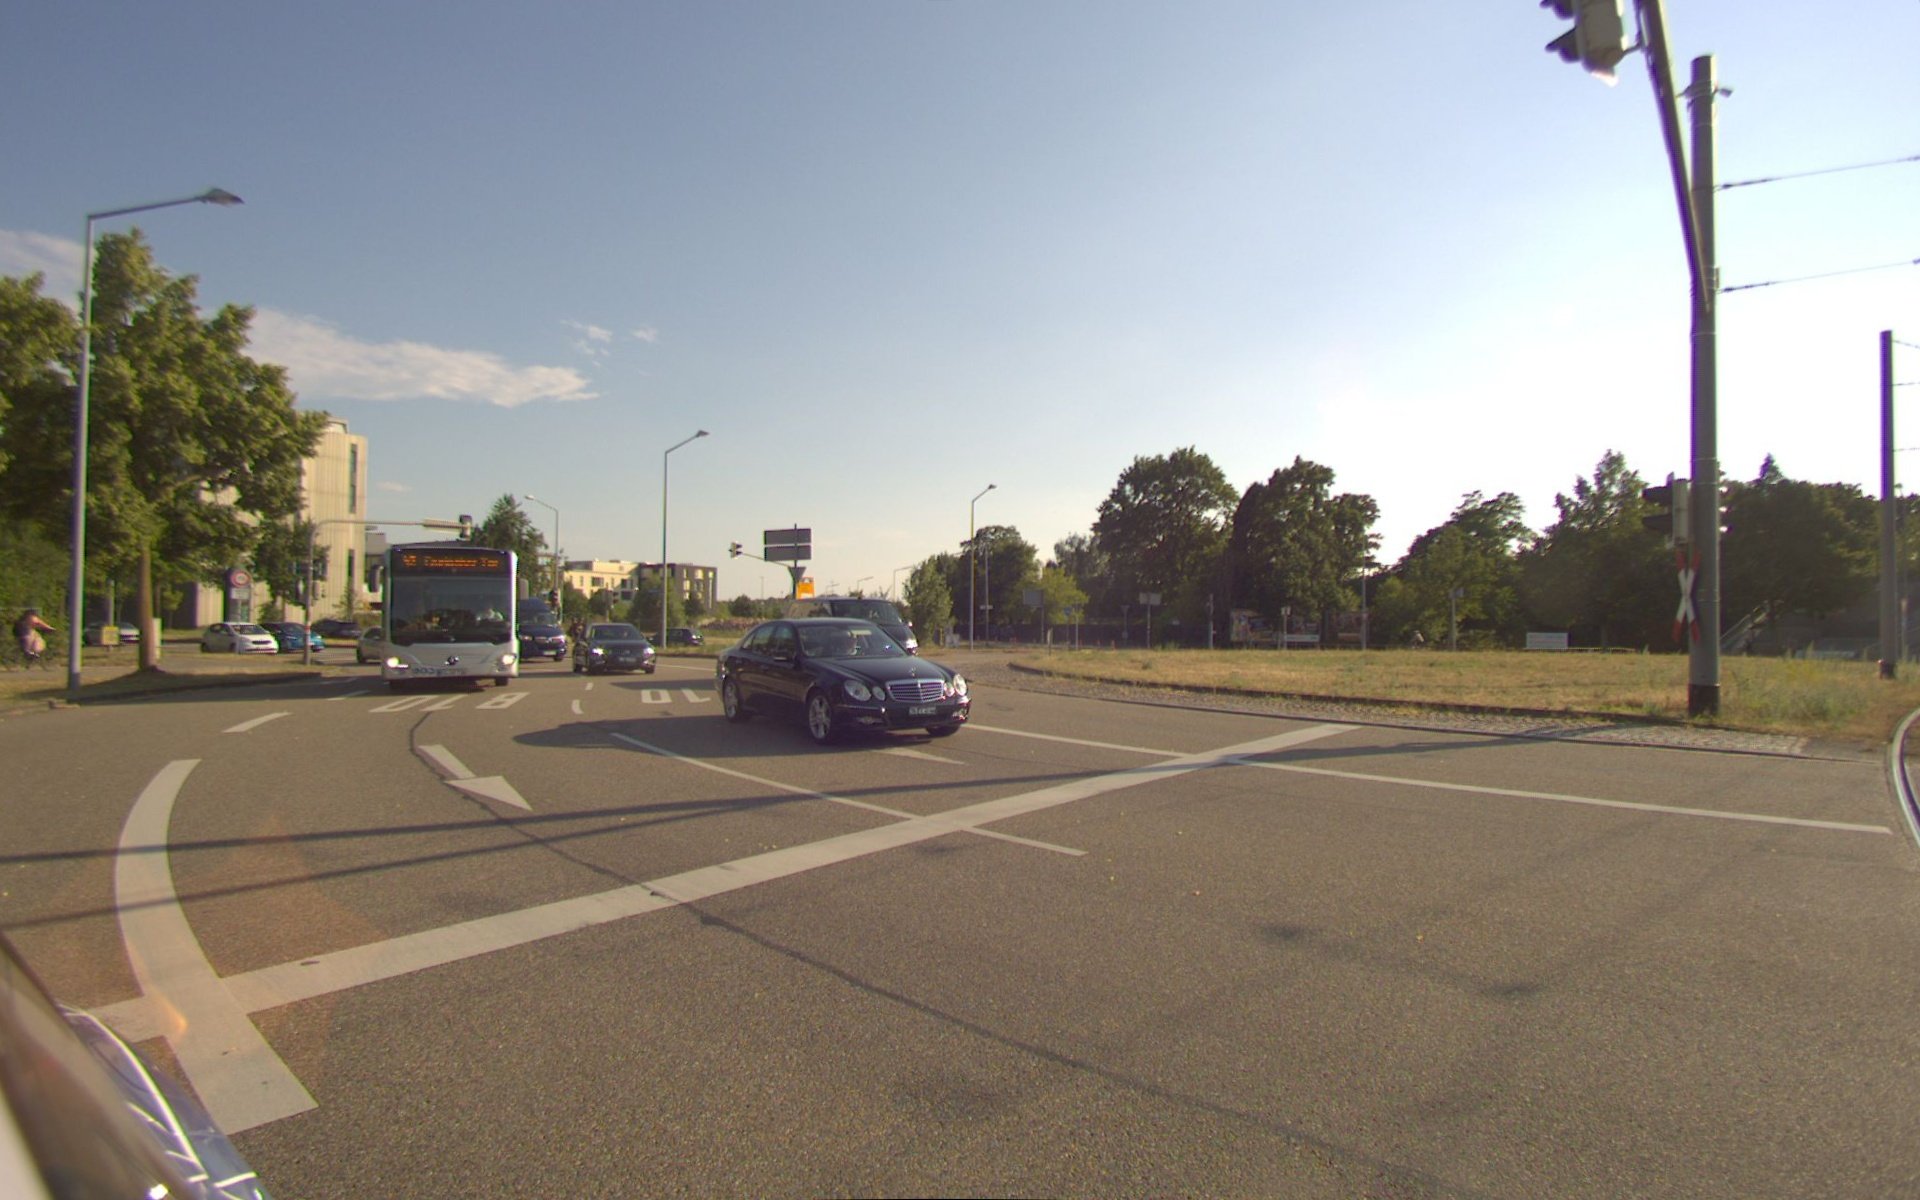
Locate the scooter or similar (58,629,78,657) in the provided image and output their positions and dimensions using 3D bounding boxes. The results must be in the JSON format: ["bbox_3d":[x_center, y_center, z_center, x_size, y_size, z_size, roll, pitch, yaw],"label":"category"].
[{"bbox_3d":[-36.020,1.729,40.864,1.092,1.135,0.246,-1,-5,33],"label":"scooter or similar"}]

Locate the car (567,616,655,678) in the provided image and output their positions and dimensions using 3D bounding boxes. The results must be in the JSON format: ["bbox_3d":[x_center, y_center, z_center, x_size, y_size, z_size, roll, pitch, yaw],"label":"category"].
[{"bbox_3d":[-10.036,1.277,28.937,1.780,1.521,4.175,0,0,-28],"label":"car"}]

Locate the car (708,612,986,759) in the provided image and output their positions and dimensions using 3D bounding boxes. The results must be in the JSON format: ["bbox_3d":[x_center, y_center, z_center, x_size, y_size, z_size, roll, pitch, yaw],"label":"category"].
[{"bbox_3d":[-1.635,0.911,12.863,1.781,1.447,4.507,0,0,-31],"label":"car"}]

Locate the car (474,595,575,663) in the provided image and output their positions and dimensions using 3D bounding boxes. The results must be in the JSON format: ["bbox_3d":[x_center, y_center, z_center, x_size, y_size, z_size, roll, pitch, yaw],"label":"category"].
[{"bbox_3d":[-17.542,1.078,40.587,1.952,2.537,5.917,0,0,-42],"label":"car"}]

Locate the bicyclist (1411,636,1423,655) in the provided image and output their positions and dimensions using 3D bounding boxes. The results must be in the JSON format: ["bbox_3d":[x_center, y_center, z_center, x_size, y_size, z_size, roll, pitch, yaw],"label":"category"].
[{"bbox_3d":[33.342,3.331,73.839,0.645,1.336,0.518,0,-2,2],"label":"bicyclist"}]

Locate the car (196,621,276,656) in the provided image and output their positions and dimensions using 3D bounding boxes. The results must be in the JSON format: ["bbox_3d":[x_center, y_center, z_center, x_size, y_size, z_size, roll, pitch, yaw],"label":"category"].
[{"bbox_3d":[-34.151,1.806,47.730,3.608,1.574,1.571,0,-2,27],"label":"car"}]

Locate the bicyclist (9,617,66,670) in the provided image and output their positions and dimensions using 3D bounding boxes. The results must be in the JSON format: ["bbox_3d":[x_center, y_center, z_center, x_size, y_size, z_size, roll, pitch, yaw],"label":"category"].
[{"bbox_3d":[-24.547,1.152,26.951,0.552,1.373,0.979,1,-2,4],"label":"bicyclist"}]

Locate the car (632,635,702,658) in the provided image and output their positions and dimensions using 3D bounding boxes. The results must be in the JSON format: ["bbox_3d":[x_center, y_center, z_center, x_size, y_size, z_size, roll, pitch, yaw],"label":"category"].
[{"bbox_3d":[-17.767,2.814,61.385,3.790,1.359,1.476,0,-2,11],"label":"car"}]

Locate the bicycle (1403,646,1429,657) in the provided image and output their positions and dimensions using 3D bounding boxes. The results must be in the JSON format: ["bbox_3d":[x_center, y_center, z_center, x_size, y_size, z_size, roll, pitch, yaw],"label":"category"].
[{"bbox_3d":[33.248,3.772,73.797,1.698,0.750,0.480,0,-2,1],"label":"bicycle"}]

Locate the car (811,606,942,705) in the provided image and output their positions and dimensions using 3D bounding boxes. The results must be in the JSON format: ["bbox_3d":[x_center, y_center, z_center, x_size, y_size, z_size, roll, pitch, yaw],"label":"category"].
[{"bbox_3d":[-1.995,1.106,22.536,1.830,1.947,5.029,0,0,-18],"label":"car"}]

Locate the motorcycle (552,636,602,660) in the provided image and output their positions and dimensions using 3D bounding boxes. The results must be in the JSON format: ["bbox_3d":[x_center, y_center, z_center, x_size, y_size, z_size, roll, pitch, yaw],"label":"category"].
[{"bbox_3d":[-16.664,2.053,44.000,0.941,0.969,2.893,2,-2,-44],"label":"motorcycle"}]

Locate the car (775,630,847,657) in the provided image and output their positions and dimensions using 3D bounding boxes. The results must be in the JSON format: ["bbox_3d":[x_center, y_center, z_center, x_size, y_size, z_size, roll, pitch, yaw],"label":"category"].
[{"bbox_3d":[-8.714,2.542,59.276,3.894,1.537,1.654,0,-2,5],"label":"car"}]

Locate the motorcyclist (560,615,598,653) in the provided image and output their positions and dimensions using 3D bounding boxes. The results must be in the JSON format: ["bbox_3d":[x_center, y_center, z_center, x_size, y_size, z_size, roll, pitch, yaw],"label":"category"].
[{"bbox_3d":[-16.515,1.475,43.860,1.026,1.602,1.441,2,-2,-44],"label":"motorcyclist"}]

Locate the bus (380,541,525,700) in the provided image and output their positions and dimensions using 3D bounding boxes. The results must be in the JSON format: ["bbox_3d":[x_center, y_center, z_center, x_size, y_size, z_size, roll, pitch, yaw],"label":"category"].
[{"bbox_3d":[-12.672,0.469,25.255,2.552,3.066,11.757,0,-1,-27],"label":"bus"}]

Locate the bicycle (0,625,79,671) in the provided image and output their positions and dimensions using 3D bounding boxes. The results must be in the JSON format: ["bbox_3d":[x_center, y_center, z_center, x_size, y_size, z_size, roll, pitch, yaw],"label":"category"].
[{"bbox_3d":[-24.557,1.275,26.970,0.485,1.165,1.826,-3,-2,4],"label":"bicycle"}]

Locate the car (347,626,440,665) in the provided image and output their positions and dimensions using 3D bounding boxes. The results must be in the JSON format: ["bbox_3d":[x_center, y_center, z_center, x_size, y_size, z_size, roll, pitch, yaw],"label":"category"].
[{"bbox_3d":[-22.063,1.759,39.381,3.614,1.434,1.569,-1,-2,31],"label":"car"}]
